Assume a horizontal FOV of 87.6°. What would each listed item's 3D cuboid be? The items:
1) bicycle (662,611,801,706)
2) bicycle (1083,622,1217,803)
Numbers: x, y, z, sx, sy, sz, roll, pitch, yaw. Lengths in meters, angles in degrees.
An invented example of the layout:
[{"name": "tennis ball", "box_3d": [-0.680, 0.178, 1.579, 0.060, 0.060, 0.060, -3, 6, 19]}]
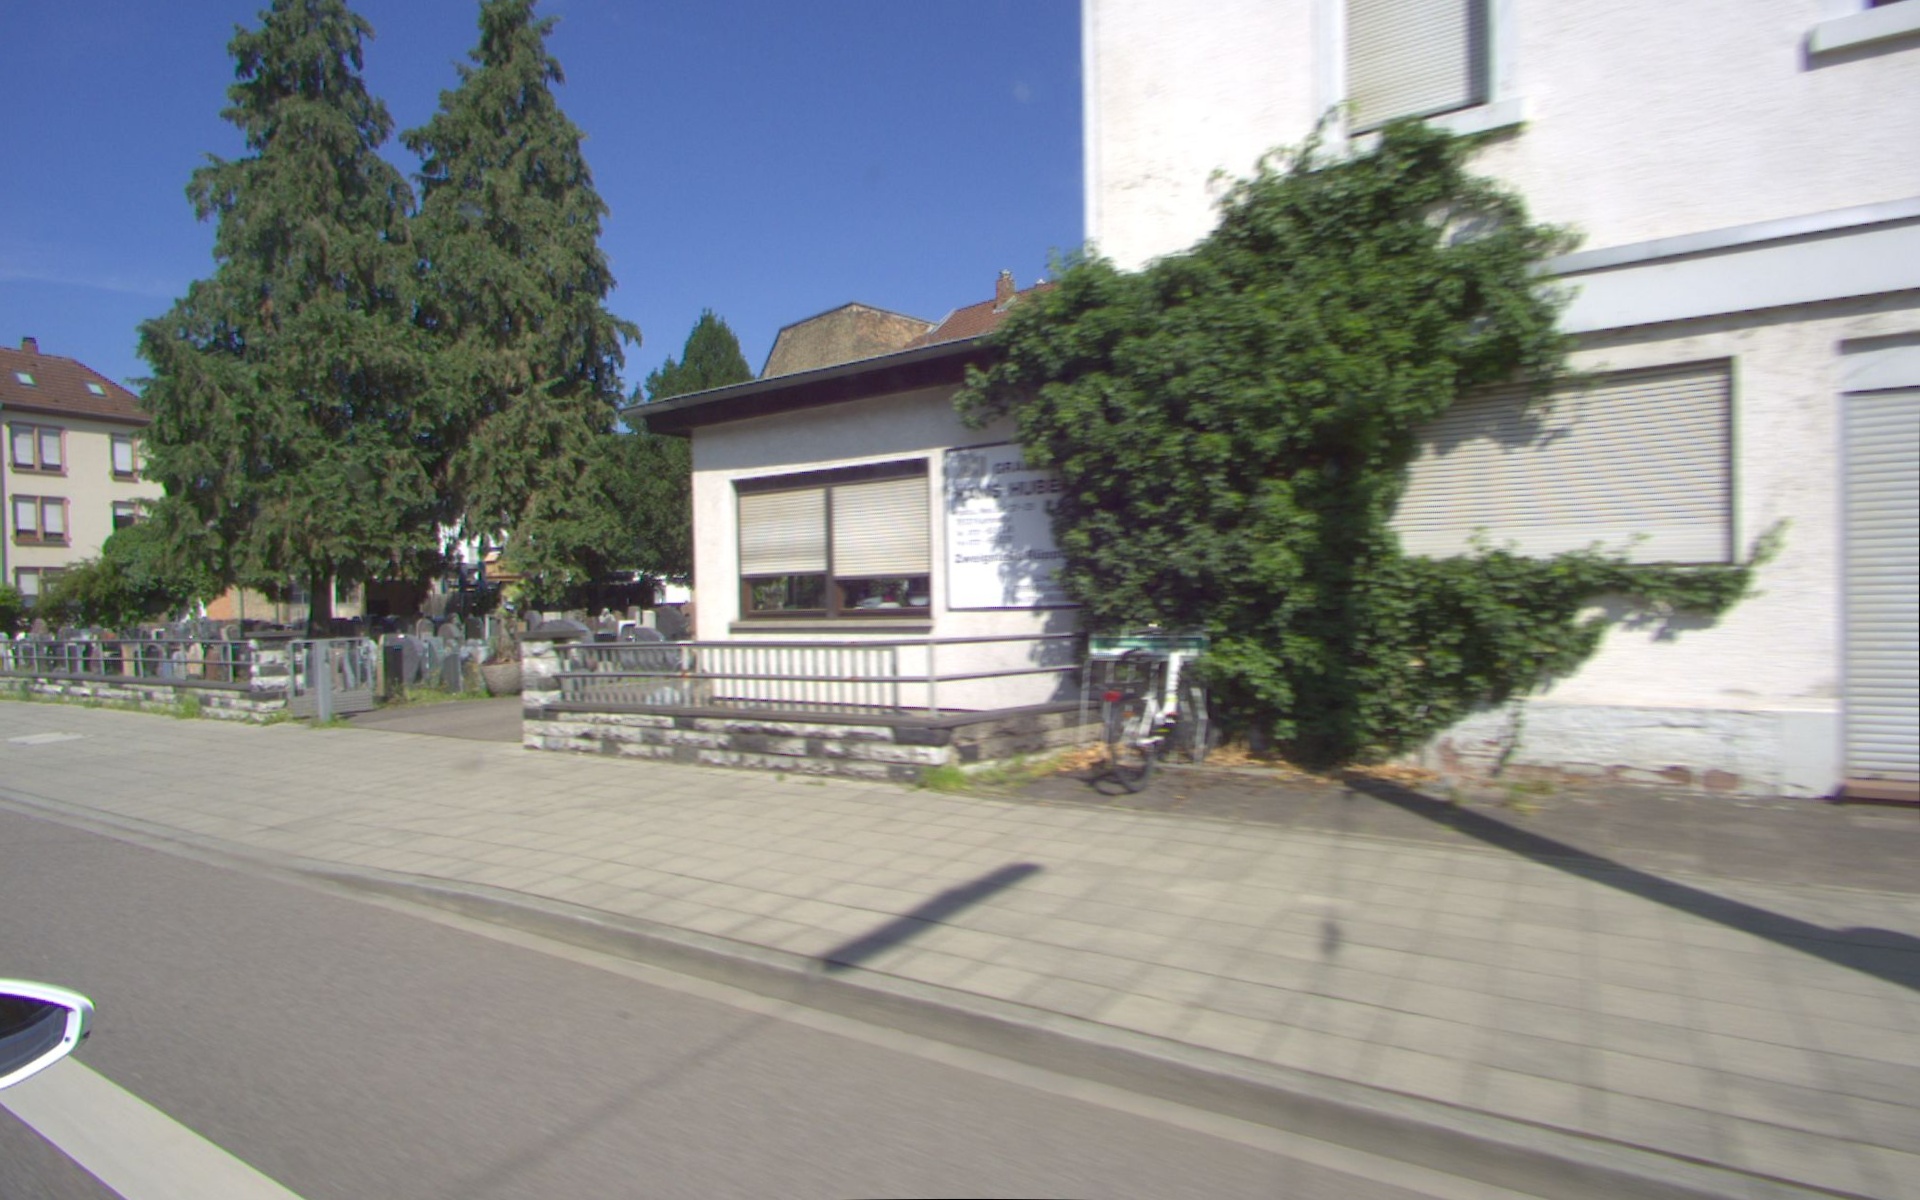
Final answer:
[{"name": "bicycle", "box_3d": [-2.959, 0.732, 13.041, 1.668, 1.126, 0.511, -2, 2, -34]}, {"name": "bicycle", "box_3d": [1.417, 0.752, 7.270, 0.392, 1.071, 1.522, 0, 3, 33]}]
